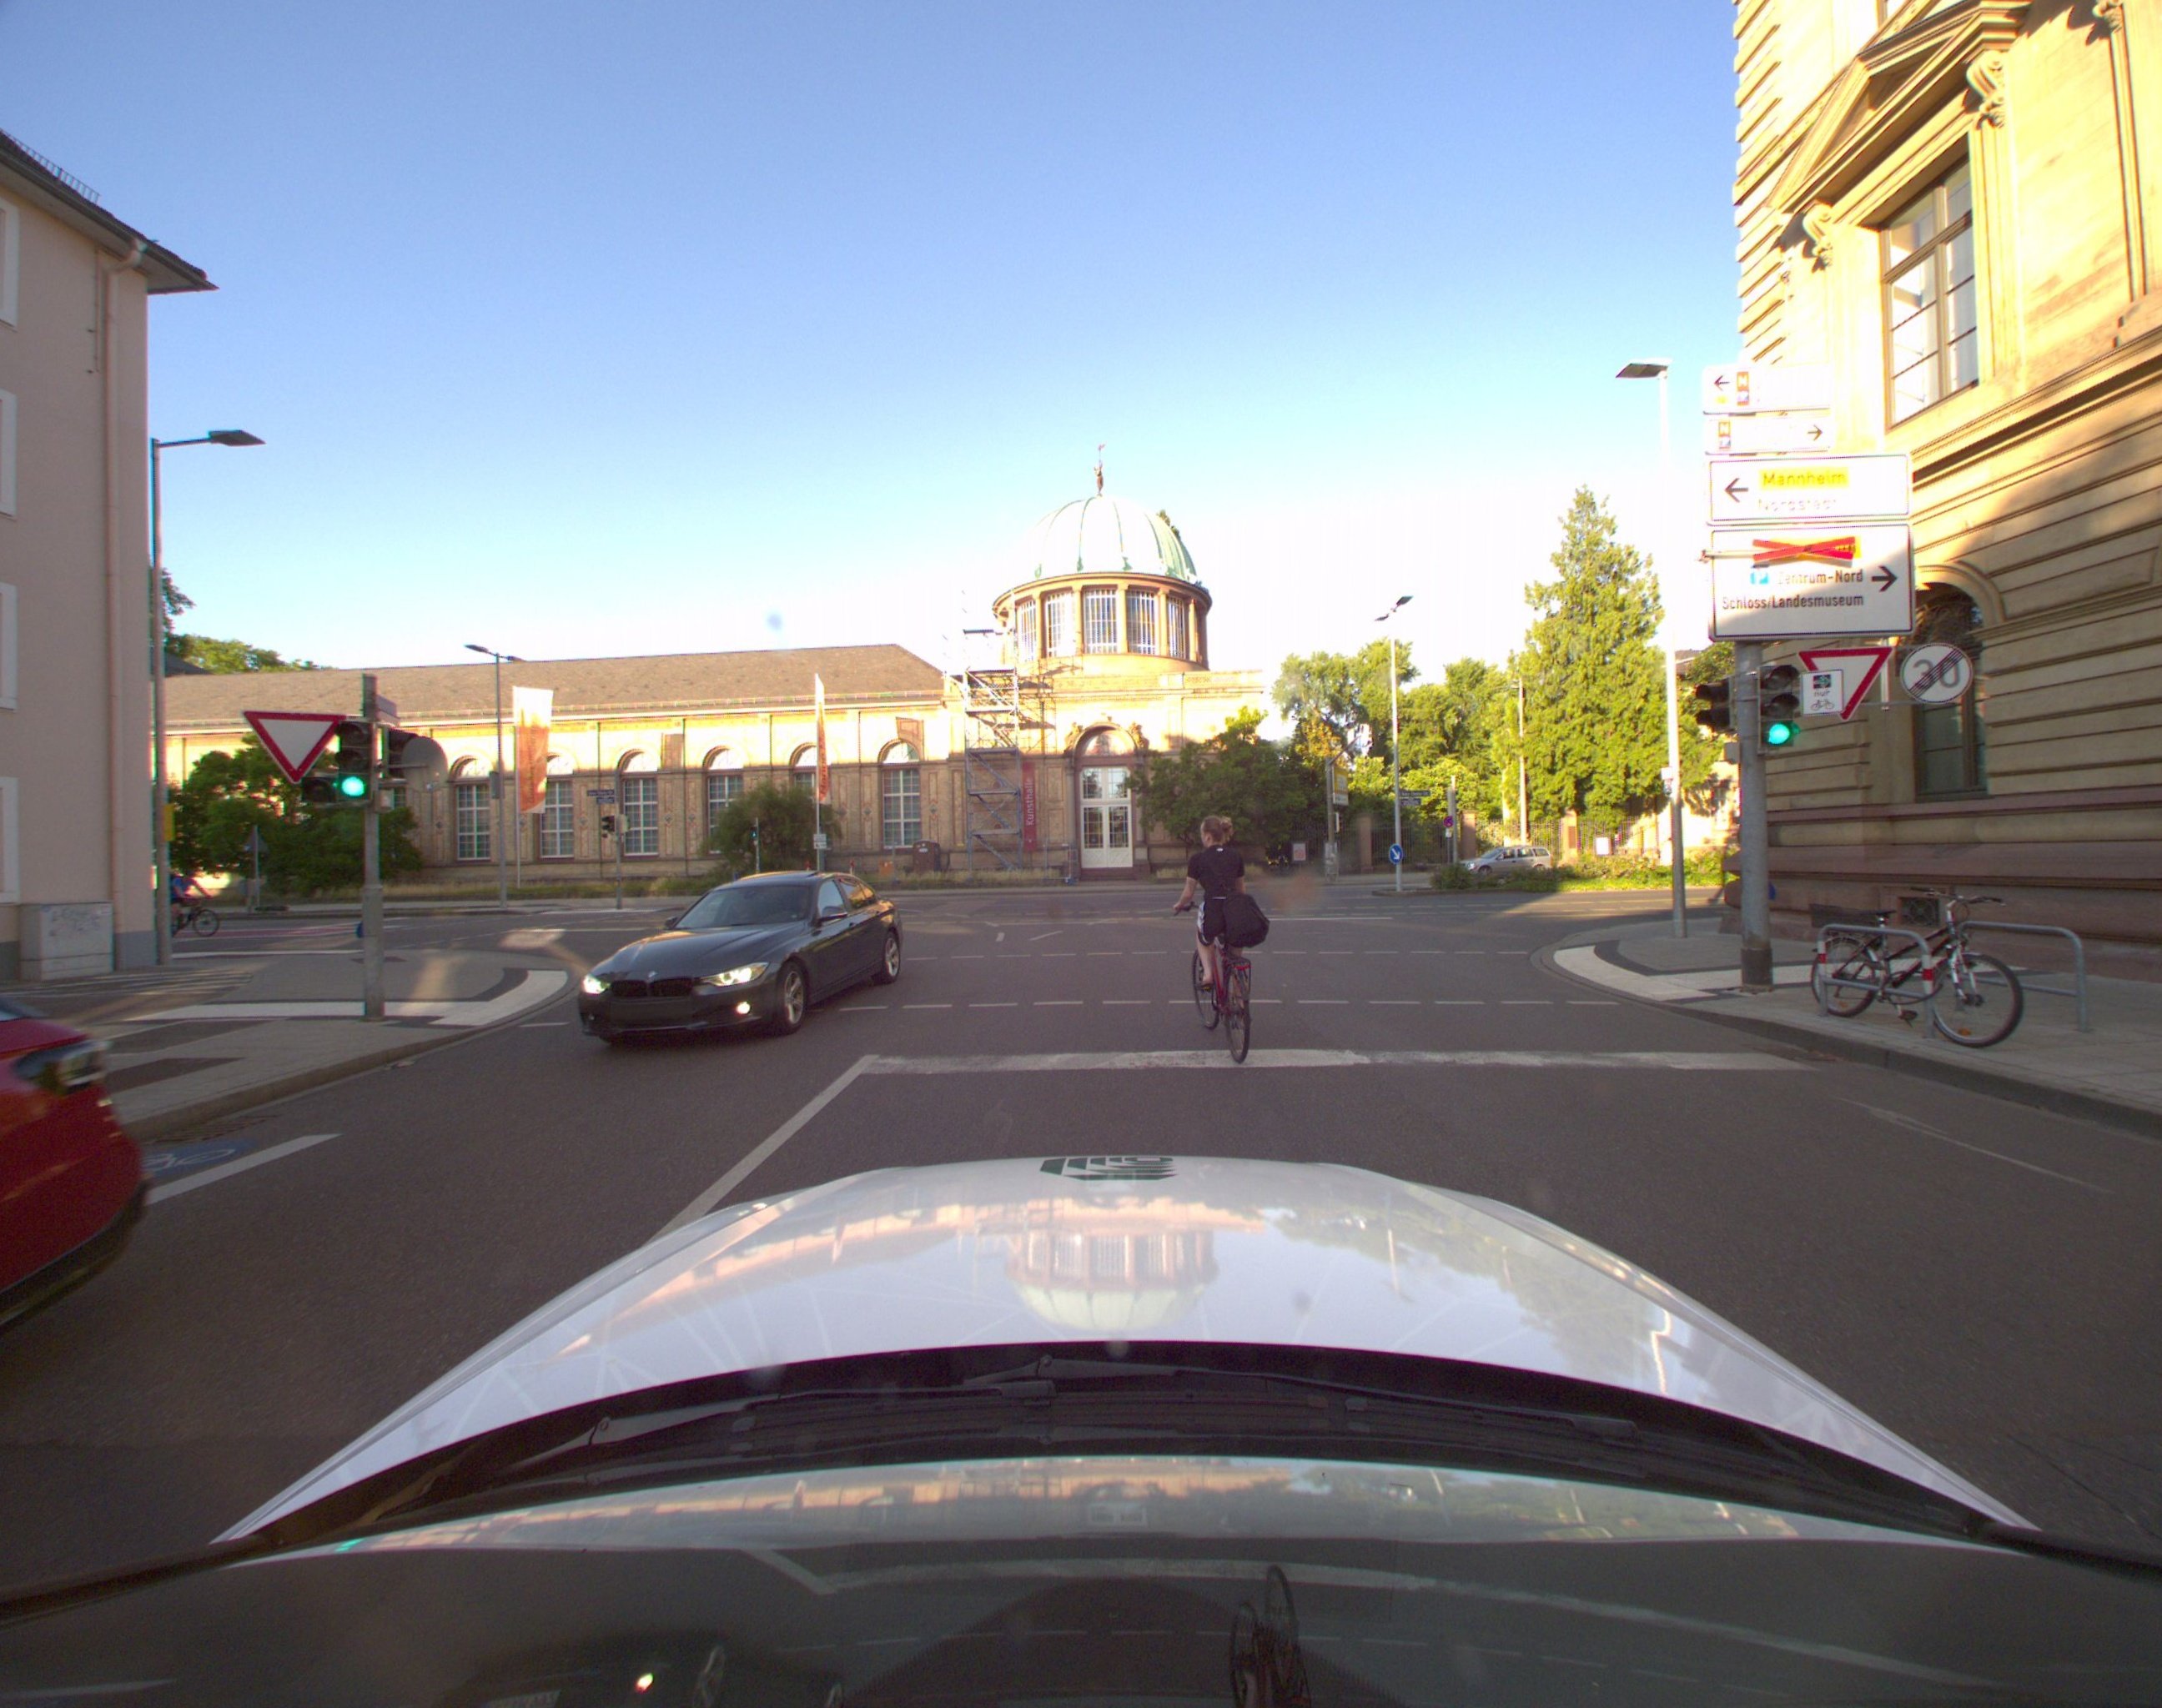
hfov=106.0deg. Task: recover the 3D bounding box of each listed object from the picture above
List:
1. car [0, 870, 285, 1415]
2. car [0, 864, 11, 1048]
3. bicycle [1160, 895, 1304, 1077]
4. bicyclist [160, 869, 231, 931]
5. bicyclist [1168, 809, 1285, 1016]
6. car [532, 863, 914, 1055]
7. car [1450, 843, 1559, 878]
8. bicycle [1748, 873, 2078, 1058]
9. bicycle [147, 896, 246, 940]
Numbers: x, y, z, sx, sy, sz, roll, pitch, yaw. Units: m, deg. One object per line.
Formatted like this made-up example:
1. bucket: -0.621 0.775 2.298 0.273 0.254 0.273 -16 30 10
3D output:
1. car: -4.058 0.892 0.737 1.825 1.545 4.847 -3 0 0
2. car: -11.874 0.909 6.354 4.426 1.641 1.942 0 0 0
3. bicycle: 1.114 0.936 6.521 0.709 1.156 2.067 -1 -2 -1
4. bicyclist: -23.153 1.189 21.298 1.115 1.544 0.715 -2 0 8
5. bicyclist: 1.112 0.437 6.402 0.714 1.502 0.850 -1 -2 -1
6. car: -3.373 0.884 8.803 1.773 1.459 4.430 -2 -1 5
7. car: 19.488 0.293 37.603 4.176 1.445 1.713 -2 0 -4
8. bicycle: 6.214 0.756 6.279 0.580 1.188 1.921 -2 -2 2
9. bicycle: -23.103 1.665 21.288 1.983 1.067 0.725 -2 0 8
